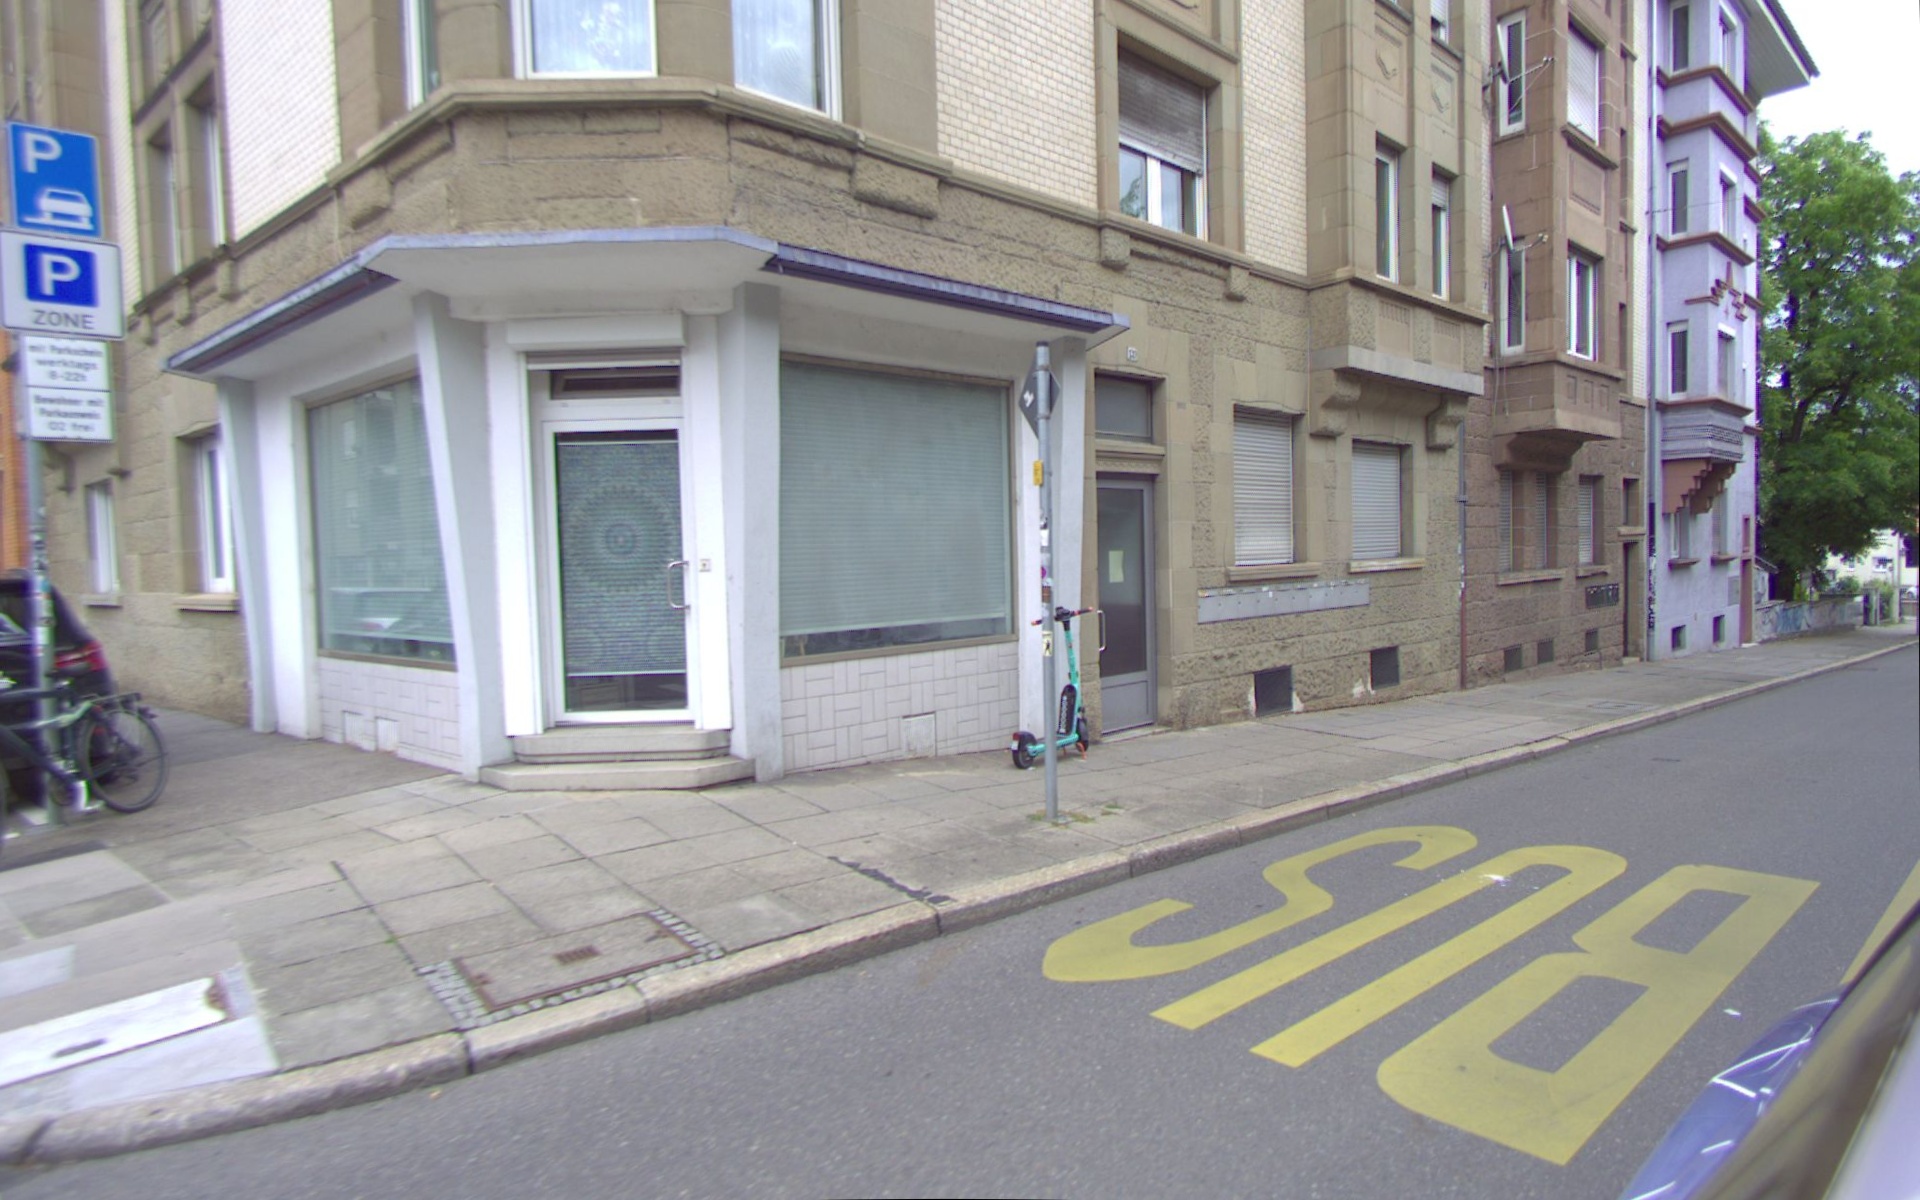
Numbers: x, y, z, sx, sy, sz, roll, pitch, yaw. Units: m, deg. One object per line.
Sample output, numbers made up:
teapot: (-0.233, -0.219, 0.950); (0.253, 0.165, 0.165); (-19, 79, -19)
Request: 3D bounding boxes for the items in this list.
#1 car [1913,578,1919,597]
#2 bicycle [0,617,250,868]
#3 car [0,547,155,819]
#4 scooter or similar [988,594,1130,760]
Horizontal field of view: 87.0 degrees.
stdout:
car: (75.339, -0.942, 77.203); (1.765, 1.448, 3.957); (-2, 2, 6)
bicycle: (-5.325, 0.795, 5.952); (0.630, 1.153, 2.075); (-3, 4, 5)
car: (-7.843, 0.574, 7.582); (4.353, 1.665, 1.764); (-1, 4, 38)
scooter or similar: (0.809, 0.599, 8.102); (1.125, 1.225, 0.410); (3, 0, -42)
